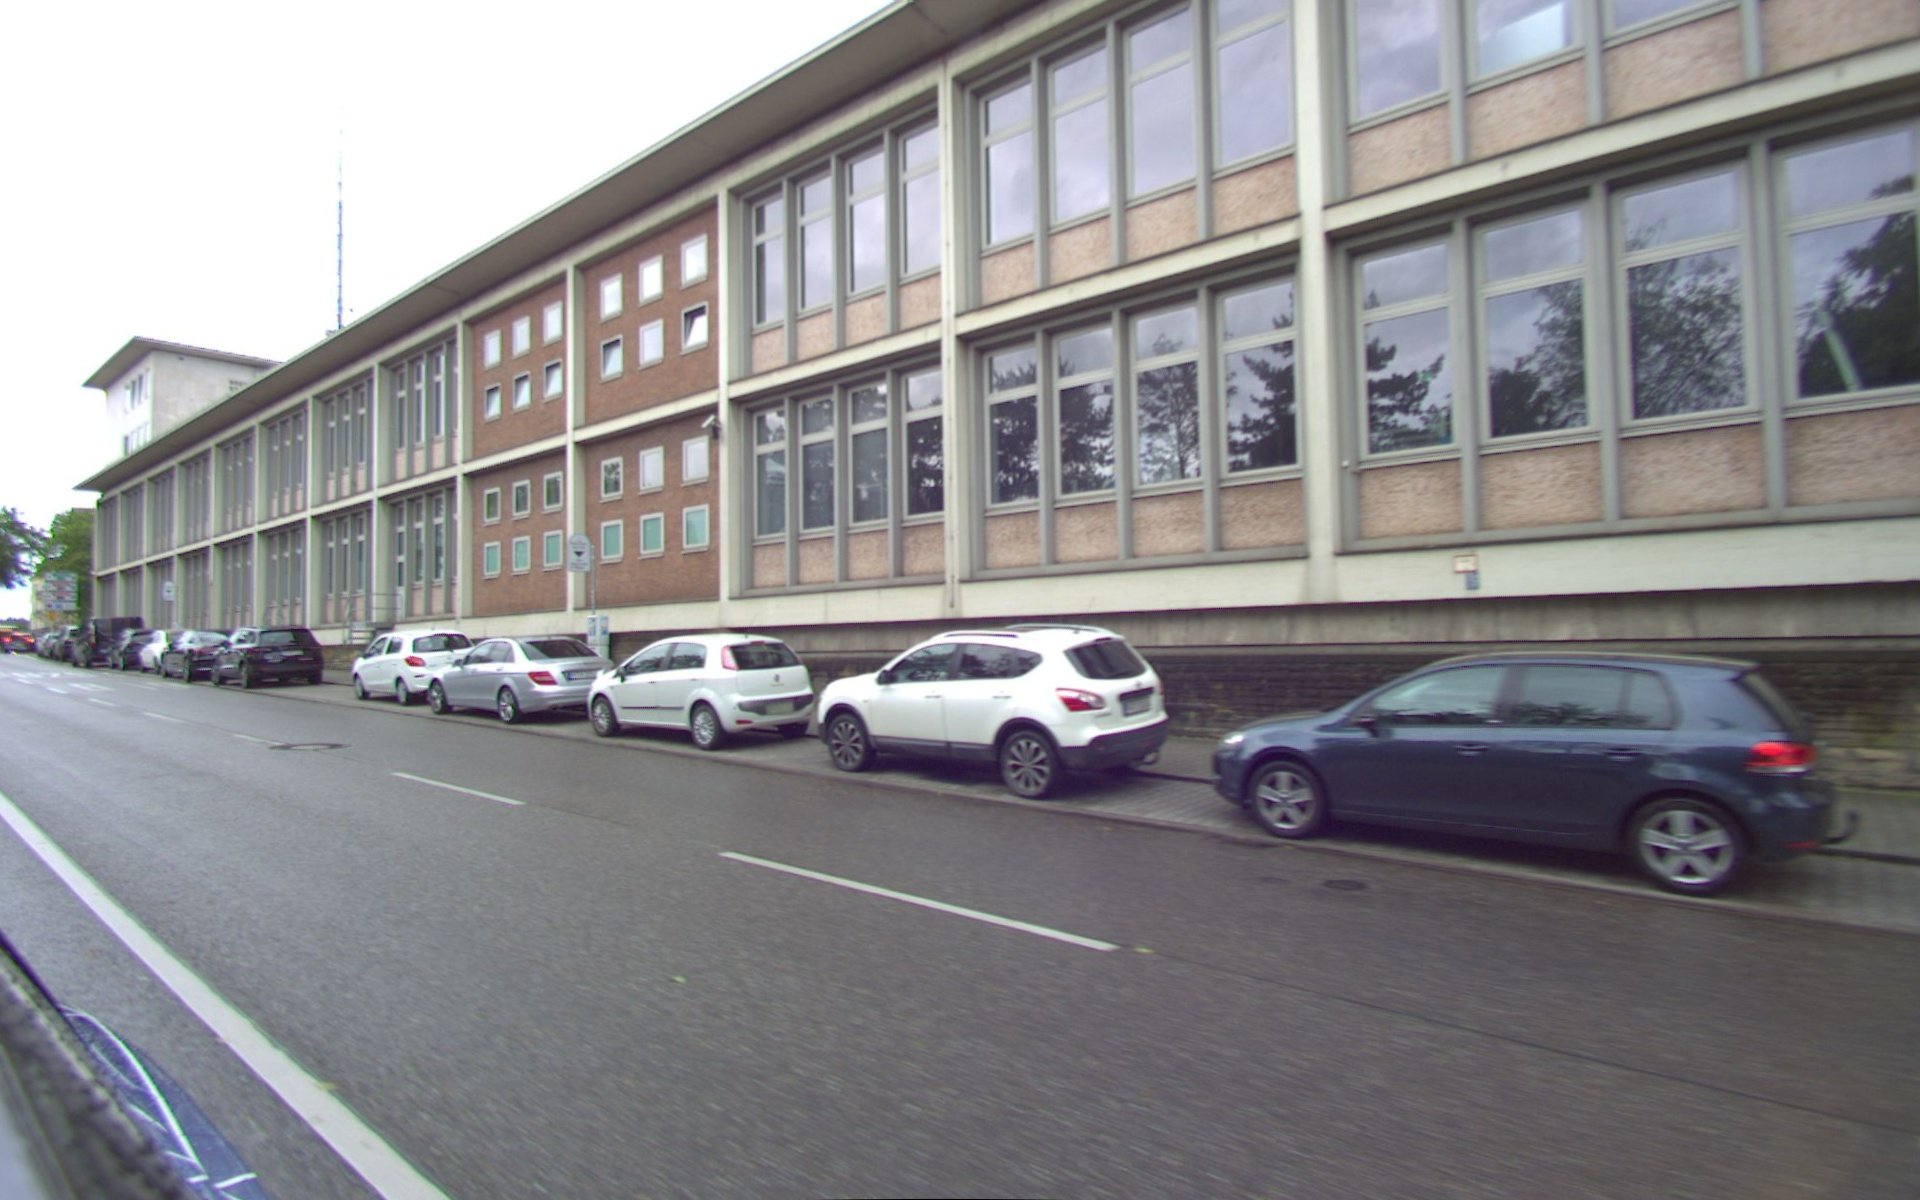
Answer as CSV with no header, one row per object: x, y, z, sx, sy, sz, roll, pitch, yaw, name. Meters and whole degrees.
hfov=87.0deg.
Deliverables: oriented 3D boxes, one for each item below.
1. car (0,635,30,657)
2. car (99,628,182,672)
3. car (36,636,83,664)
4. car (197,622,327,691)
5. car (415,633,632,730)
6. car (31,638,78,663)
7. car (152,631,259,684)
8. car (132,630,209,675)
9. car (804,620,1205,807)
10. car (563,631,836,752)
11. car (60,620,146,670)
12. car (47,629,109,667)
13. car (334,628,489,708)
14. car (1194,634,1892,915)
-72.832,3.529,77.901,1.800,1.673,4.341,2,-3,-43,car
-31.091,1.885,38.350,4.312,1.564,1.840,-2,-3,43,car
-45.643,2.520,51.276,4.111,1.364,1.525,-3,-3,45,car
-19.056,1.467,27.569,4.512,1.666,1.822,-1,0,40,car
-7.868,1.347,18.044,4.482,1.446,1.730,-1,0,40,car
-49.296,2.732,55.064,4.094,1.307,1.672,-2,-3,45,car
-23.435,1.744,31.359,4.909,1.495,1.796,-2,-3,43,car
-27.482,1.804,35.187,3.552,1.495,1.549,-2,-3,43,car
0.345,1.067,11.036,4.179,1.610,1.730,-2,0,41,car
-3.885,1.213,14.743,4.177,1.465,1.730,-2,0,40,car
-35.194,1.818,41.529,4.993,1.958,1.929,-2,-2,41,car
-41.452,2.206,47.537,4.604,1.688,1.777,-2,-2,44,car
-11.812,1.382,21.714,3.918,1.534,1.662,-1,-1,41,car
4.081,1.029,7.617,4.177,1.491,1.730,-2,0,40,car
